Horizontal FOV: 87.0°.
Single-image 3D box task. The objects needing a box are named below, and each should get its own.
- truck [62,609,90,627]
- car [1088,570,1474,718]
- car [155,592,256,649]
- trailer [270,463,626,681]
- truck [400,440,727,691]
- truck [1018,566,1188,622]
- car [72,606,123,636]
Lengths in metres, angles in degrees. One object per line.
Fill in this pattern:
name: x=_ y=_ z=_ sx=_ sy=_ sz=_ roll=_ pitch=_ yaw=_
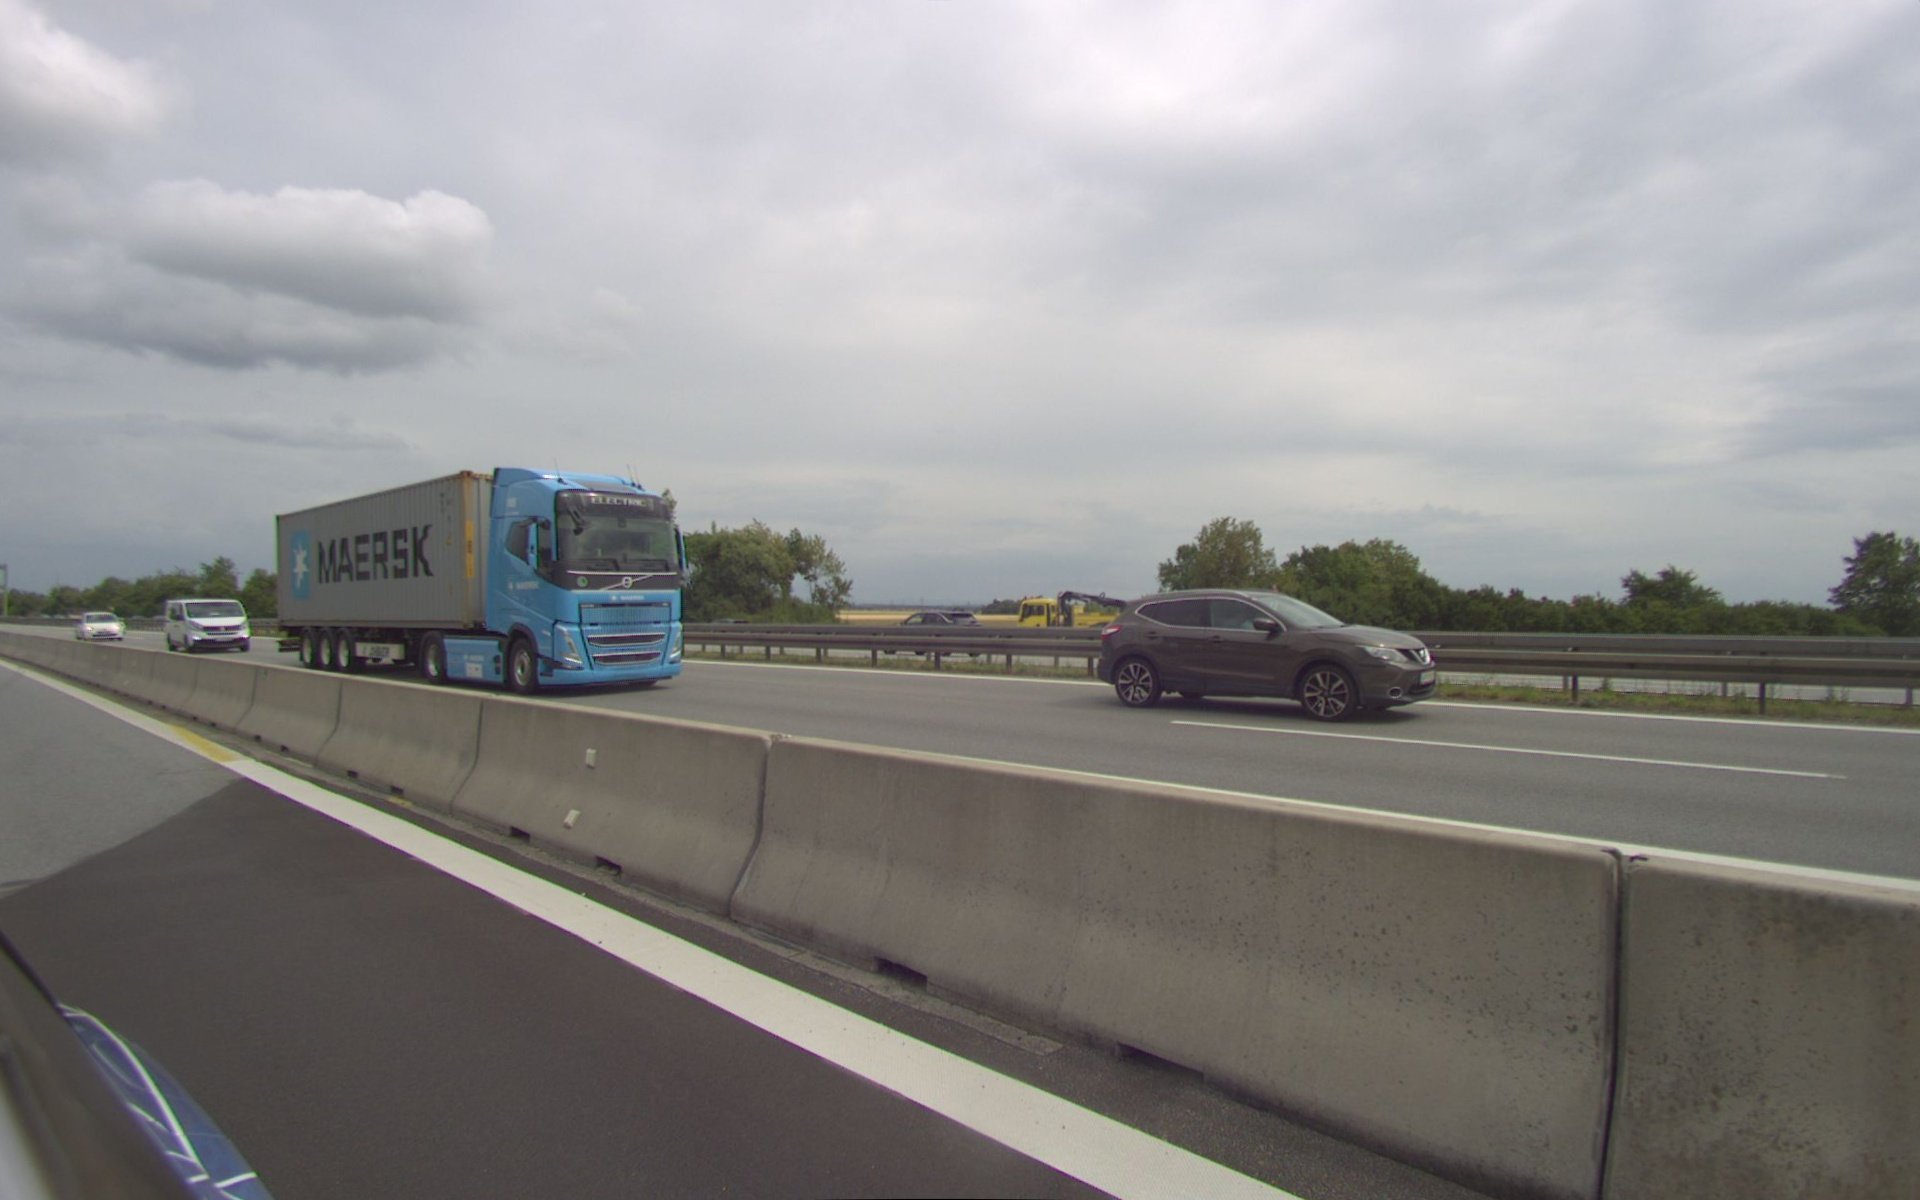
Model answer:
truck: x=-124.453 y=2.512 z=142.487 sx=6.199 sy=2.388 sz=2.252 roll=-1 pitch=0 yaw=42
car: x=4.032 y=0.492 z=13.174 sx=4.417 sy=1.610 sz=1.872 roll=-1 pitch=0 yaw=42
car: x=-27.817 y=0.719 z=37.247 sx=5.130 sy=1.952 sz=1.979 roll=-1 pitch=1 yaw=42
trailer: x=-12.519 y=-0.500 z=23.710 sx=12.378 sy=3.954 sz=3.202 roll=-1 pitch=1 yaw=42
truck: x=-7.732 y=-0.533 z=19.302 sx=6.609 sy=3.941 sz=3.212 roll=-1 pitch=0 yaw=43
truck: x=7.679 y=-0.278 z=54.469 sx=8.711 sy=2.795 sz=2.898 roll=-1 pitch=0 yaw=19
car: x=-44.805 y=1.087 z=52.539 sx=3.775 sy=1.496 sz=1.662 roll=-1 pitch=0 yaw=44
